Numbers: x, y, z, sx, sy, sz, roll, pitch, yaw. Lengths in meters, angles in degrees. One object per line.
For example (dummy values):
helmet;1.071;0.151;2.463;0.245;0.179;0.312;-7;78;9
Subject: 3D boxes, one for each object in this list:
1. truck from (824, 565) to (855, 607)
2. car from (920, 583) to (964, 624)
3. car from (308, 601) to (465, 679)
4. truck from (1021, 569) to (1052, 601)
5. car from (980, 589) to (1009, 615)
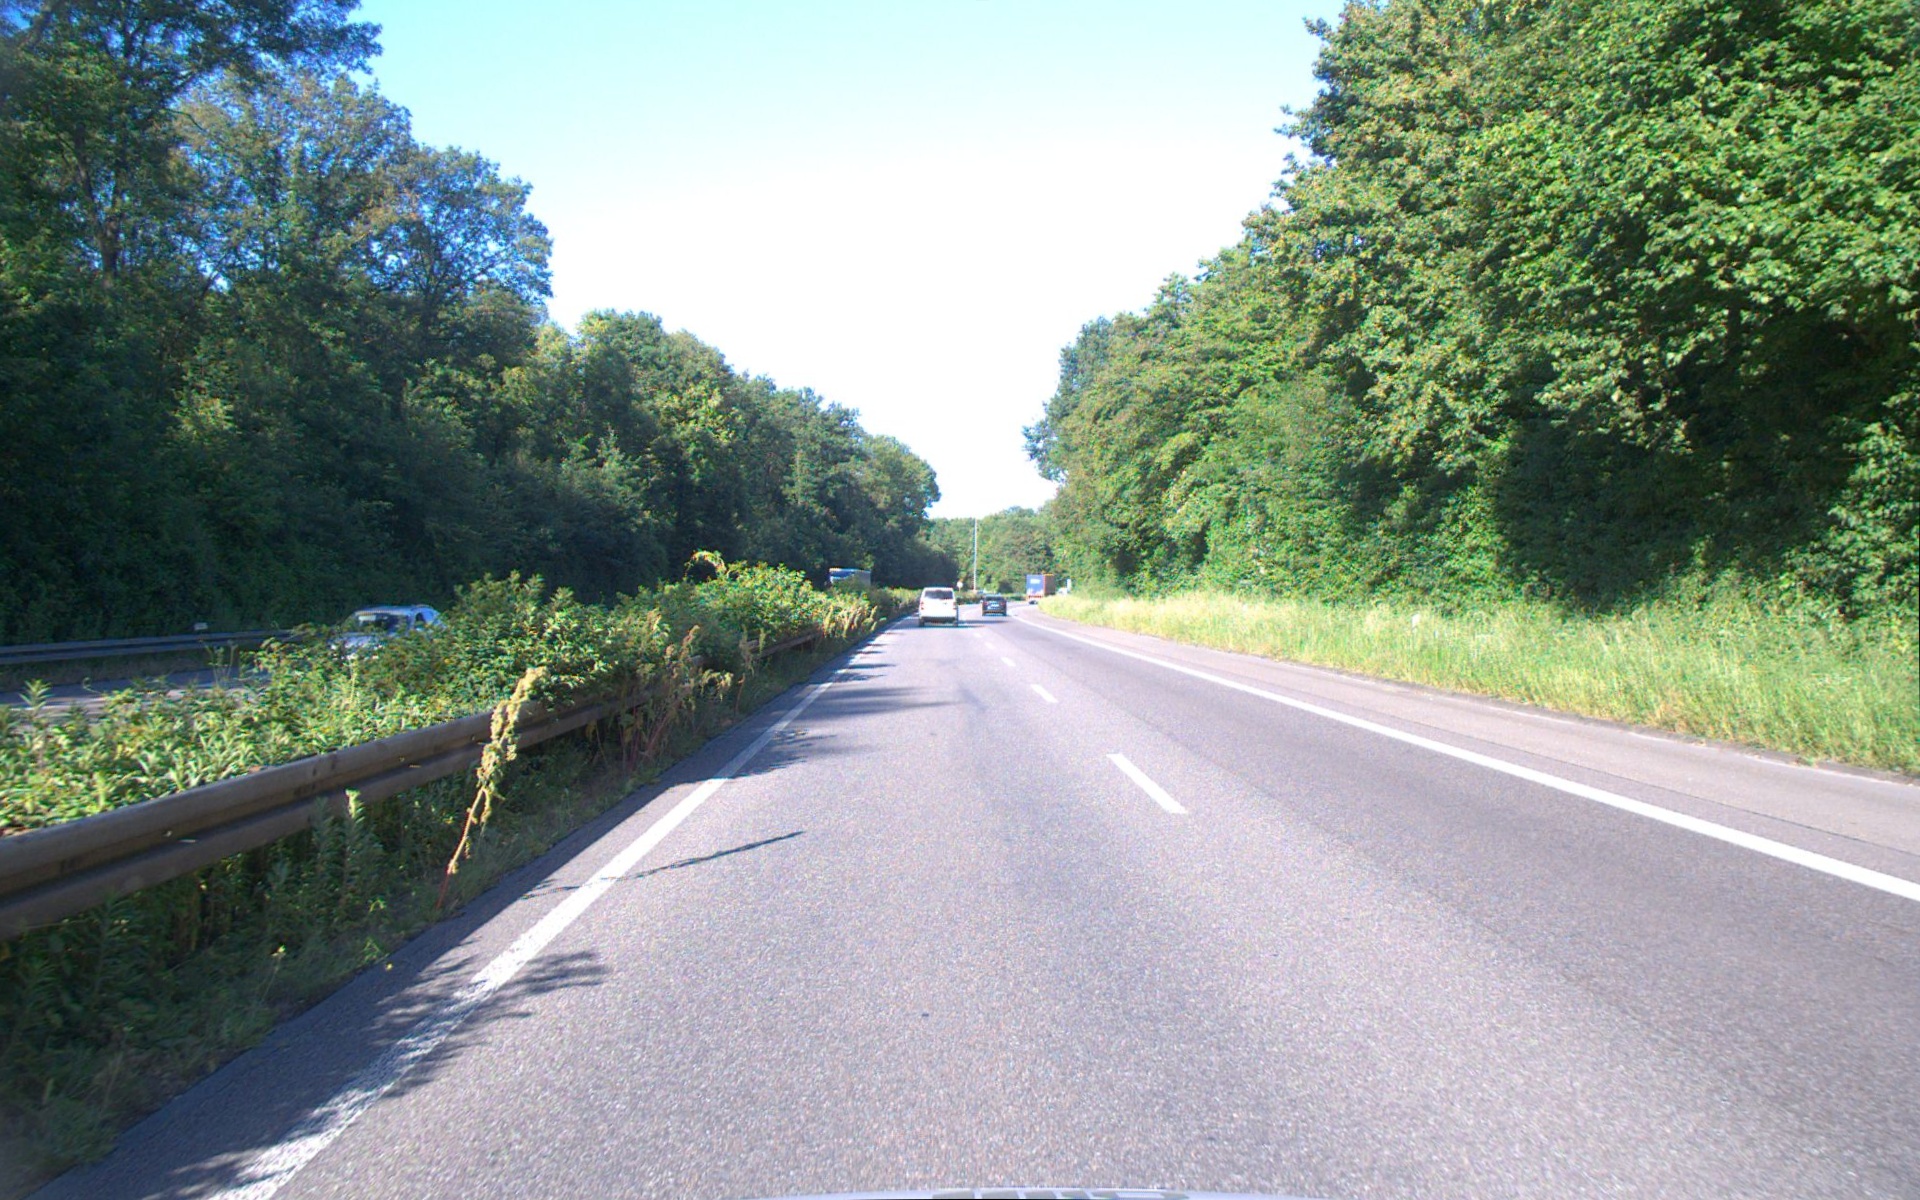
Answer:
truck;-12.151;-1.377;166.880;2.660;4.168;5.436;1;0;0
car;-0.866;0.181;76.320;1.912;1.813;4.586;1;0;-1
car;-11.920;0.793;34.681;1.954;1.474;4.337;0;1;-3
truck;10.782;-2.074;232.506;3.655;4.419;9.311;1;0;7
car;2.462;0.139;119.546;1.912;1.813;4.586;1;0;-1
